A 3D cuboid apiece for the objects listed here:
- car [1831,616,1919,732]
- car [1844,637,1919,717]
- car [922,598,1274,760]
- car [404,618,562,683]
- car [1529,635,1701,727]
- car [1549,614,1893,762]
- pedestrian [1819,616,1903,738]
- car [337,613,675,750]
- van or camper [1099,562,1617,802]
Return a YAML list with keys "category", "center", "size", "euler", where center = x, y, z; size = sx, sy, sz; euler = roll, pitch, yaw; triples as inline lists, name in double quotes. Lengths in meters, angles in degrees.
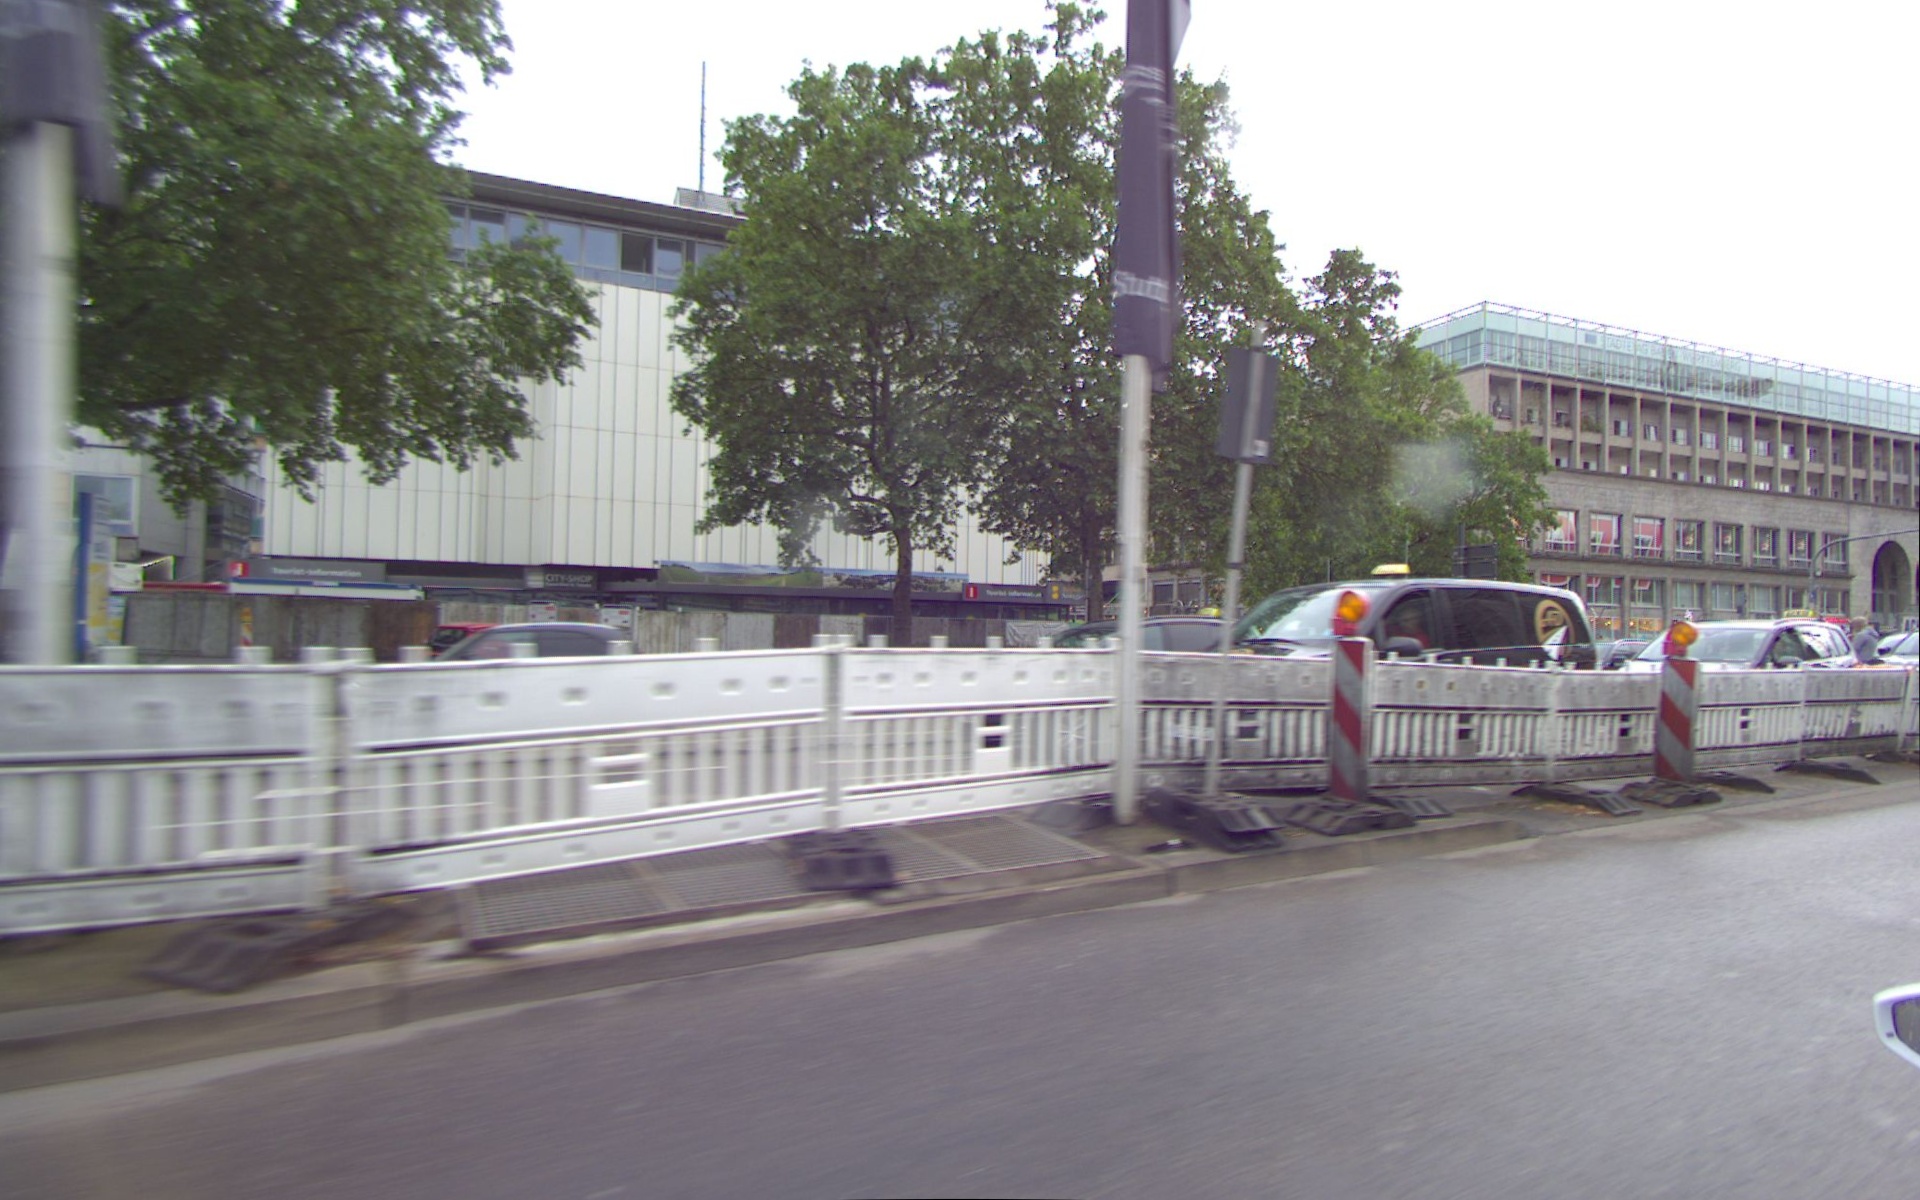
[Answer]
- category: "car"
  center: [17.387, 1.233, 17.263]
  size: [4.747, 1.841, 1.987]
  euler: [1, -2, -26]
- category: "car"
  center: [22.765, 1.741, 23.359]
  size: [4.424, 1.745, 1.778]
  euler: [1, -2, -27]
- category: "car"
  center: [1.814, 0.904, 12.661]
  size: [4.257, 1.725, 1.878]
  euler: [2, -1, -34]
- category: "car"
  center: [-12.595, 1.320, 26.772]
  size: [1.815, 1.563, 3.747]
  euler: [1, -2, 13]
- category: "car"
  center: [16.321, 1.956, 25.015]
  size: [3.952, 2.040, 1.985]
  euler: [1, 0, -29]
- category: "car"
  center: [10.737, 1.141, 14.138]
  size: [4.748, 1.794, 1.987]
  euler: [1, -2, -27]
- category: "pedestrian"
  center: [15.646, 1.308, 17.454]
  size: [0.812, 2.040, 0.871]
  euler: [2, -1, -30]
- category: "car"
  center: [-6.563, 1.112, 14.764]
  size: [4.248, 1.725, 1.882]
  euler: [2, 0, -29]
- category: "van or camper"
  center: [4.085, 0.704, 9.939]
  size: [5.331, 1.844, 1.935]
  euler: [2, 0, -32]
